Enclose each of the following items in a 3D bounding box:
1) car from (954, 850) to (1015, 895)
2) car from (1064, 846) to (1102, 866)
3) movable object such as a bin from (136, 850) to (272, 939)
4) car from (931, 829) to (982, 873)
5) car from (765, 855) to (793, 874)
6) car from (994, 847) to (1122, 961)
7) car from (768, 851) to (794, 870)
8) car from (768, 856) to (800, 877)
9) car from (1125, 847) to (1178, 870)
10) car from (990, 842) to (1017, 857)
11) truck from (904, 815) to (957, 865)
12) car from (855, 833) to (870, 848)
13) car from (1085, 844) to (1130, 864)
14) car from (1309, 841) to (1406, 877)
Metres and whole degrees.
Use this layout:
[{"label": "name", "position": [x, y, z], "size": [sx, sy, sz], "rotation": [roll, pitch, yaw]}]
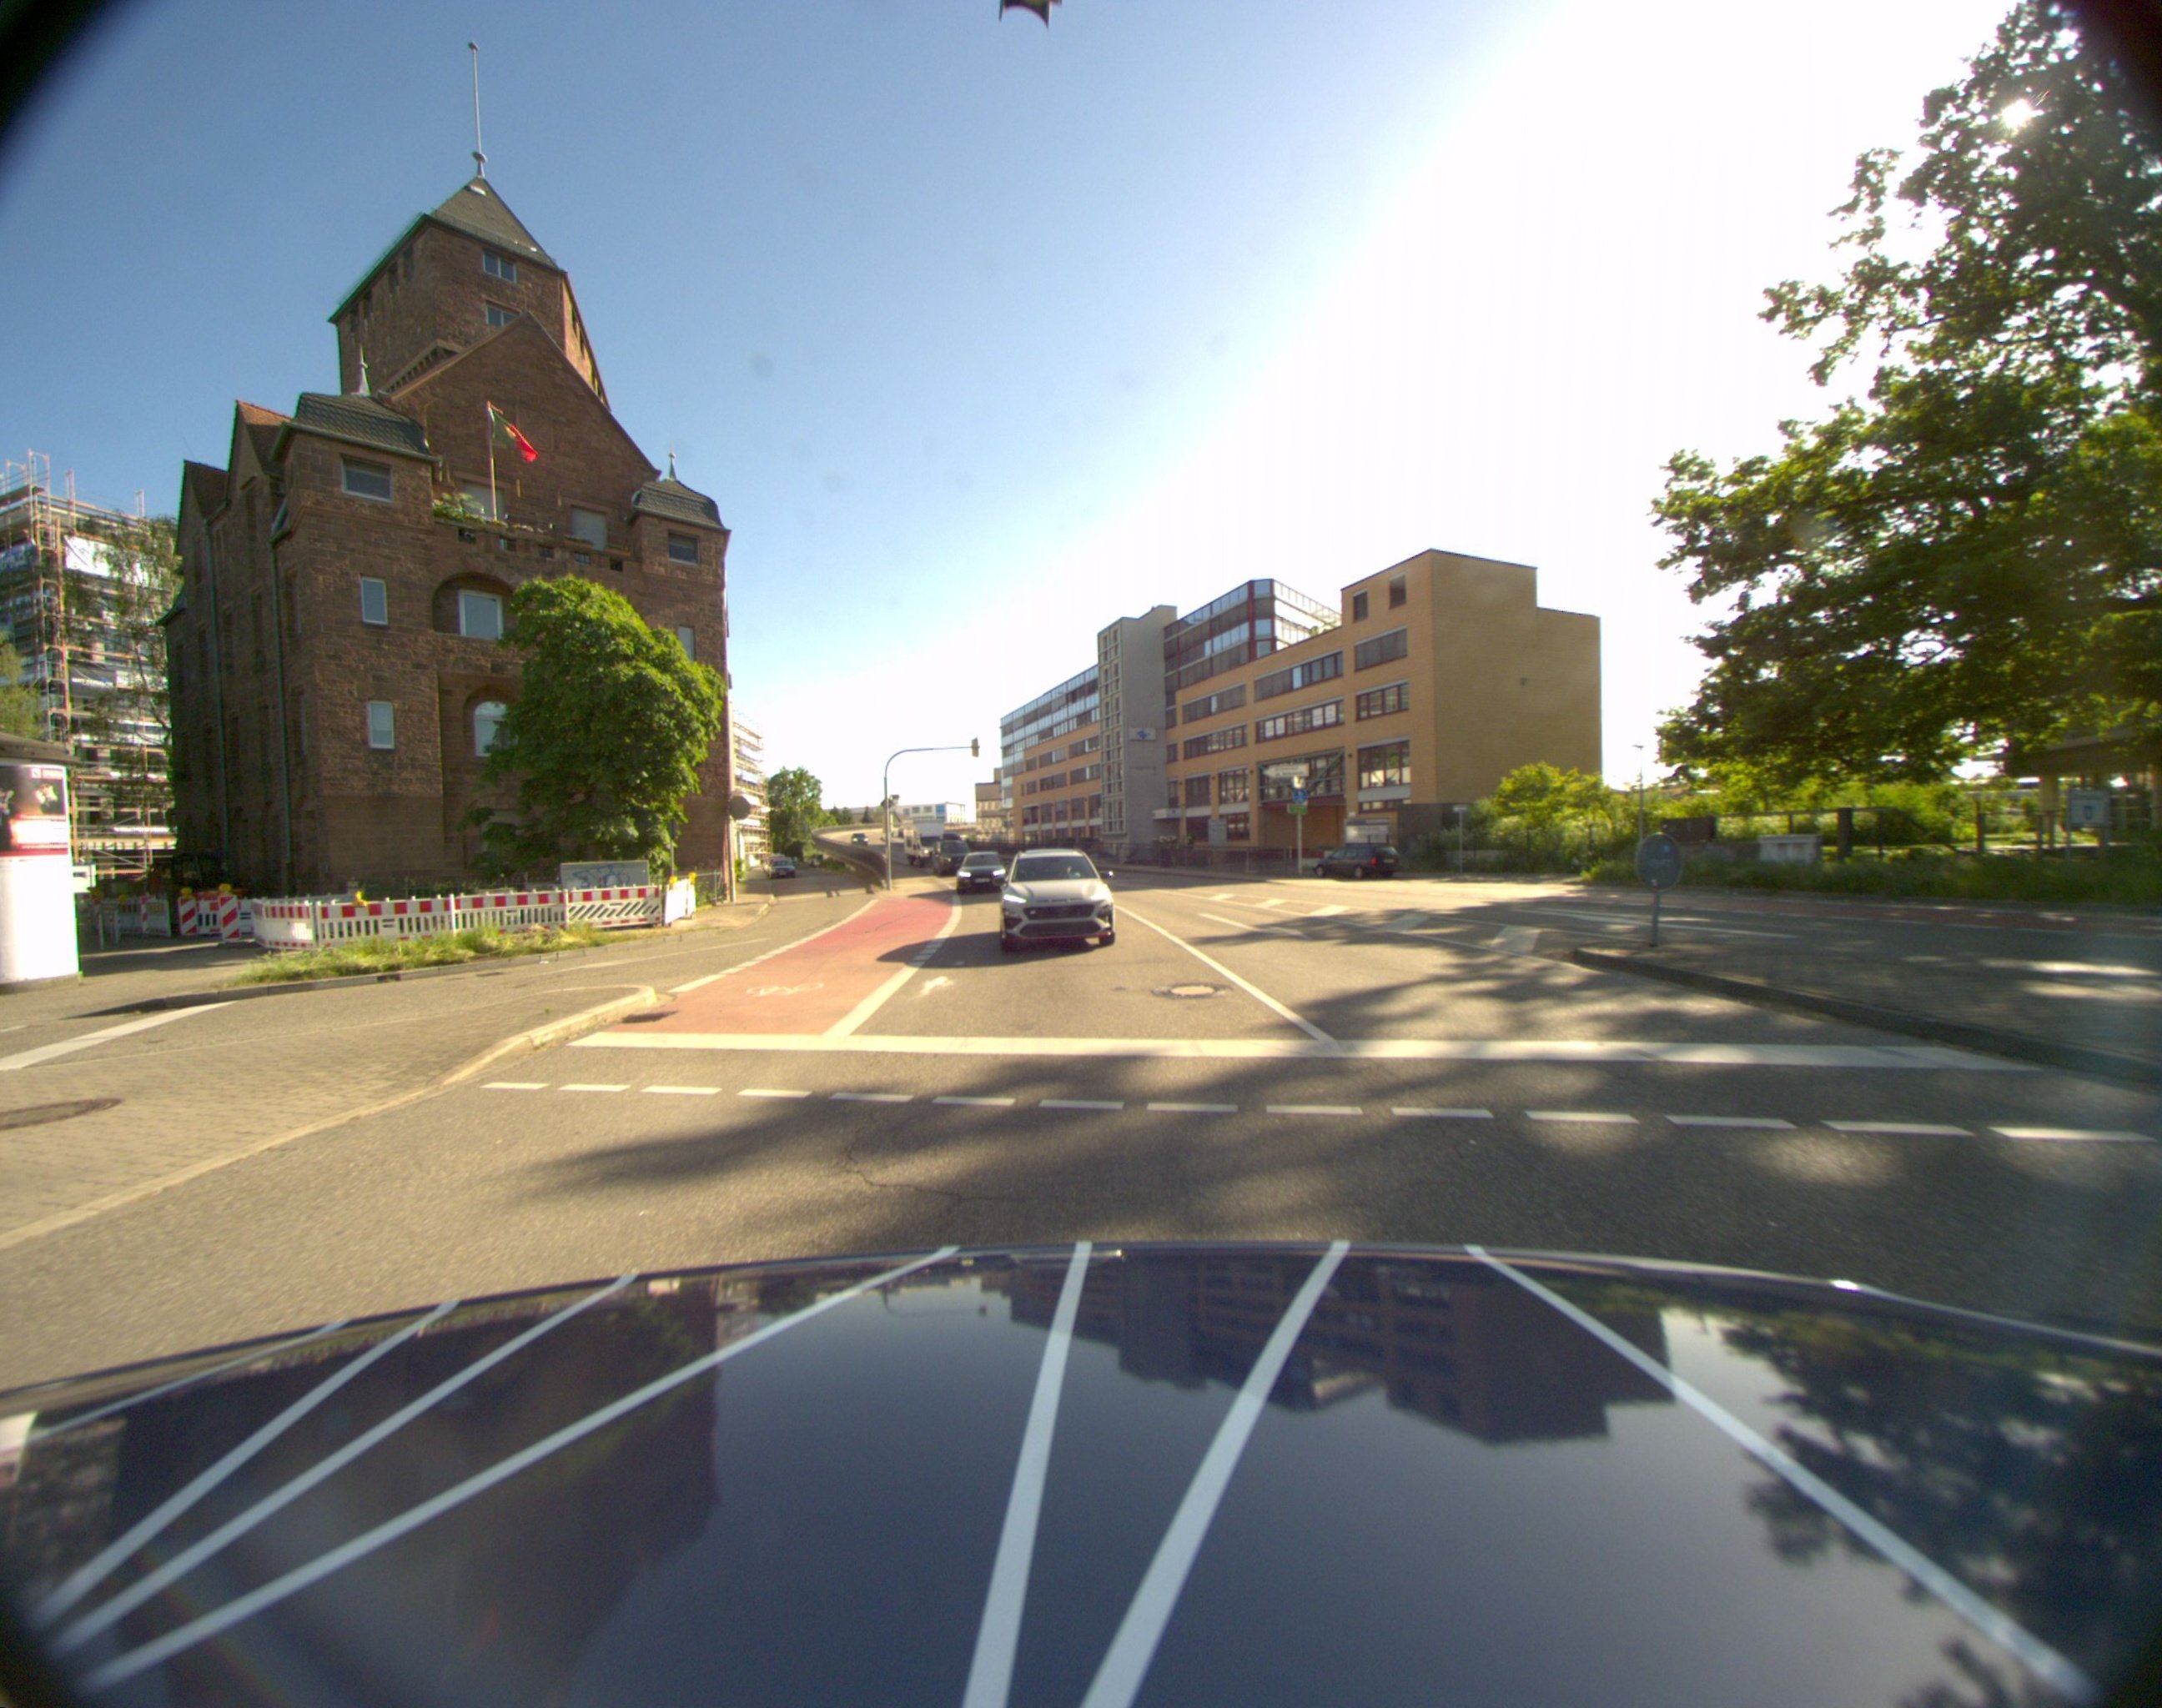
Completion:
[{"label": "car", "position": [-3.559, 0.636, 28.717], "size": [1.879, 1.462, 4.633], "rotation": [-2, 1, -3]}, {"label": "car", "position": [0.123, 0.185, 64.245], "size": [1.887, 1.555, 3.992], "rotation": [-2, 1, -21]}, {"label": "movable object such as a bin", "position": [-26.257, 1.150, 22.741], "size": [3.989, 2.395, 2.004], "rotation": [-1, 1, 32]}, {"label": "car", "position": [-6.855, -0.160, 41.531], "size": [1.953, 2.248, 4.777], "rotation": [-2, 1, -18]}, {"label": "car", "position": [-26.275, 0.886, 66.081], "size": [2.056, 1.523, 4.084], "rotation": [-3, 1, -24]}, {"label": "car", "position": [-0.569, 0.716, 13.417], "size": [1.880, 1.612, 4.193], "rotation": [-2, 1, -7]}, {"label": "car", "position": [-28.971, 0.619, 73.347], "size": [2.056, 1.676, 4.084], "rotation": [-3, 1, -24]}, {"label": "car", "position": [-23.101, 0.939, 59.035], "size": [2.056, 1.523, 4.084], "rotation": [-3, 1, -23]}, {"label": "car", "position": [4.830, 0.317, 52.546], "size": [1.641, 1.515, 4.152], "rotation": [-2, 1, -26]}, {"label": "car", "position": [-8.566, -0.510, 83.766], "size": [2.001, 1.500, 3.992], "rotation": [-4, 3, -20]}, {"label": "truck", "position": [-10.476, -0.923, 52.486], "size": [2.506, 3.110, 6.947], "rotation": [-2, 1, -20]}, {"label": "car", "position": [-27.684, -1.730, 96.399], "size": [1.759, 1.749, 4.778], "rotation": [-2, 1, -15]}, {"label": "car", "position": [2.069, -0.002, 59.952], "size": [1.882, 1.515, 4.152], "rotation": [-2, 1, -24]}, {"label": "car", "position": [12.287, 0.234, 34.085], "size": [1.661, 1.500, 4.372], "rotation": [0, -1, -19]}]
